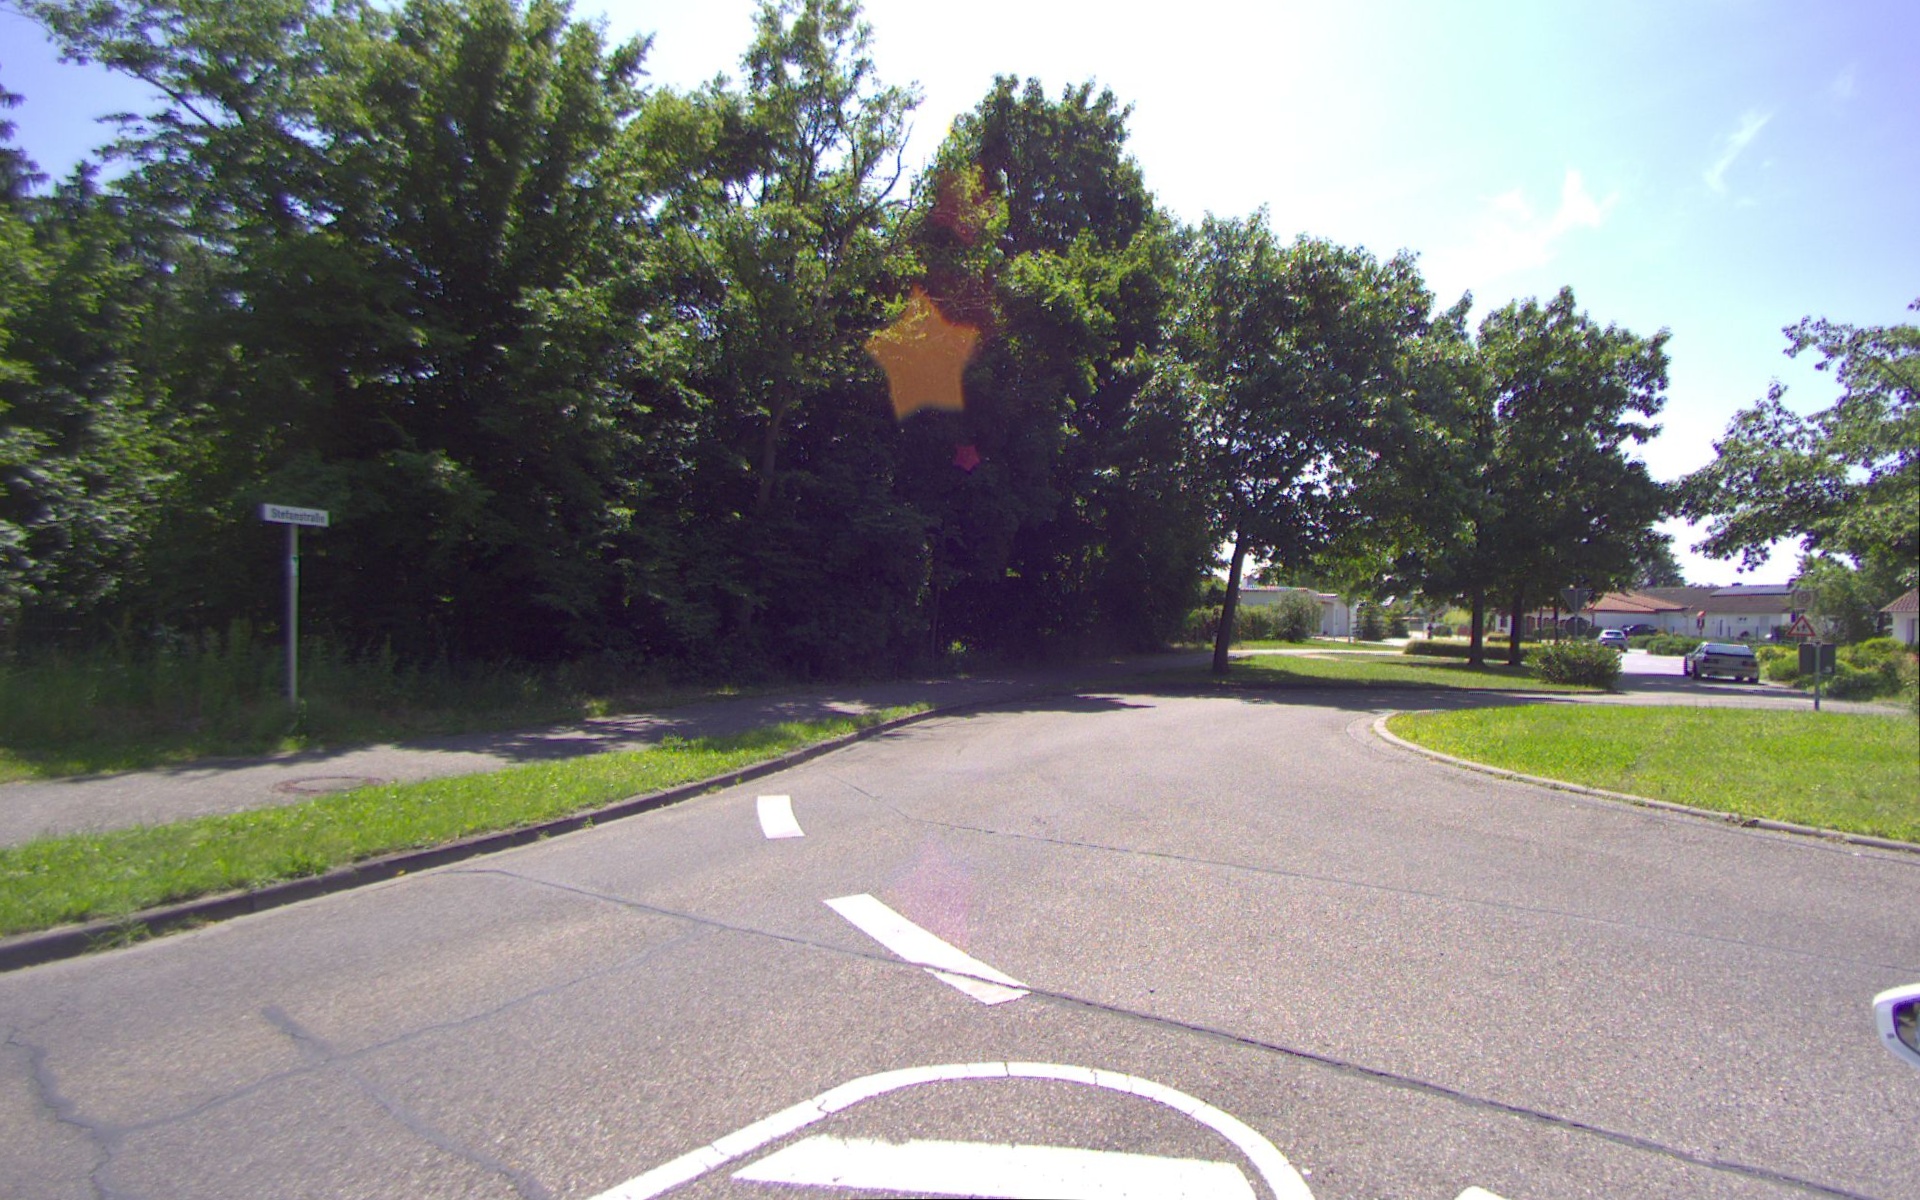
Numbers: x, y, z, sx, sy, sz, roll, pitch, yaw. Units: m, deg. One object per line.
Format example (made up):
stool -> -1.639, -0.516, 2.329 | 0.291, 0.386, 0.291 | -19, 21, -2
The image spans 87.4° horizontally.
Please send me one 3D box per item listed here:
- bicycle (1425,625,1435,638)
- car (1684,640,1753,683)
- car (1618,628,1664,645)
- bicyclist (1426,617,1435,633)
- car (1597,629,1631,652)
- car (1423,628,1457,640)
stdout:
bicycle -> 34.732, 2.303, 74.189 | 0.588, 0.941, 1.618 | 1, -1, 27
car -> 25.718, 2.048, 34.150 | 1.592, 1.305, 3.548 | 1, -1, 33
car -> 69.753, 3.722, 102.919 | 3.772, 1.563, 1.849 | 2, -1, -15
bicyclist -> 34.778, 1.850, 74.267 | 0.588, 1.180, 0.648 | 1, -1, 27
car -> 44.949, 2.765, 69.078 | 1.604, 1.506, 3.994 | 0, -1, 28
car -> 56.330, 3.953, 117.945 | 1.961, 1.305, 3.999 | 2, -1, -1
